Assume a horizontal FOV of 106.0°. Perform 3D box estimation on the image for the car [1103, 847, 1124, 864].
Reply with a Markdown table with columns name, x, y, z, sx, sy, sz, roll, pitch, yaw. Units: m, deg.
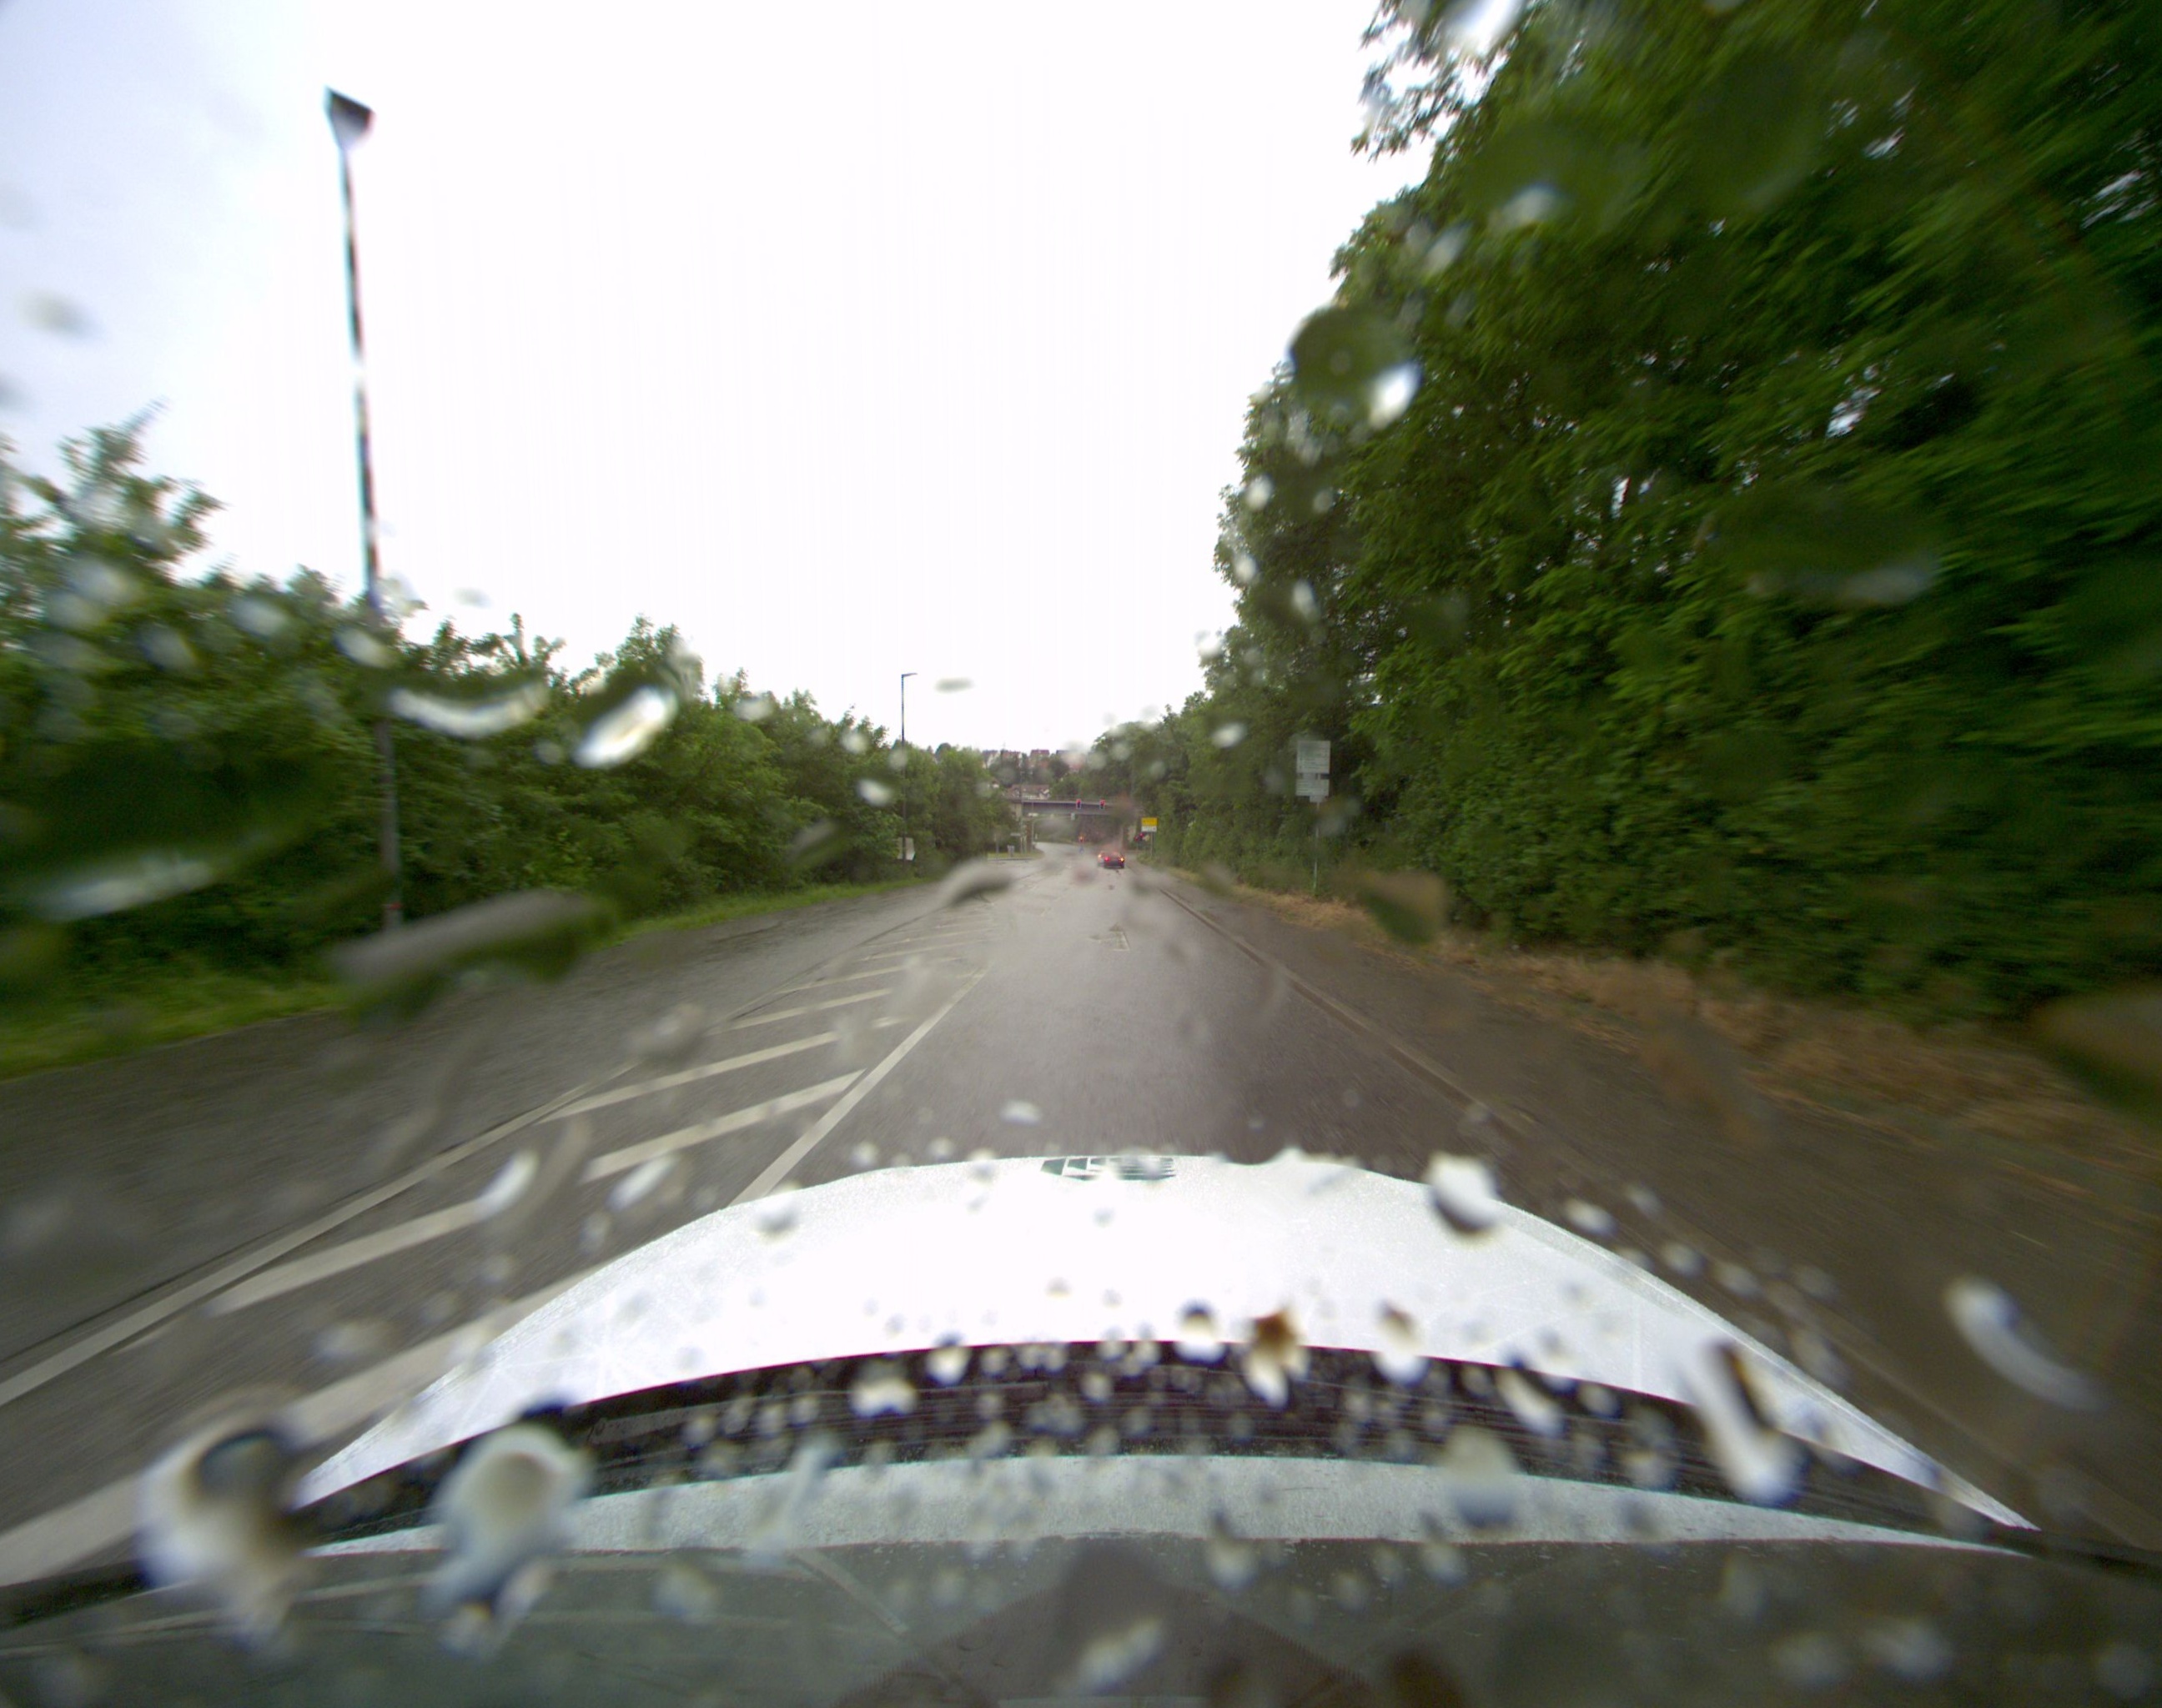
| name | x | y | z | sx | sy | sz | roll | pitch | yaw |
| --- | --- | --- | --- | --- | --- | --- | --- | --- | --- |
| car | 2.892 | 0.139 | 71.718 | 1.761 | 1.380 | 4.002 | -1 | 0 | 2 |

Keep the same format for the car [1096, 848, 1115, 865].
| name | x | y | z | sx | sy | sz | roll | pitch | yaw |
| --- | --- | --- | --- | --- | --- | --- | --- | --- | --- |
| car | 2.372 | 0.247 | 78.501 | 1.761 | 1.563 | 4.002 | -1 | 0 | 2 |
